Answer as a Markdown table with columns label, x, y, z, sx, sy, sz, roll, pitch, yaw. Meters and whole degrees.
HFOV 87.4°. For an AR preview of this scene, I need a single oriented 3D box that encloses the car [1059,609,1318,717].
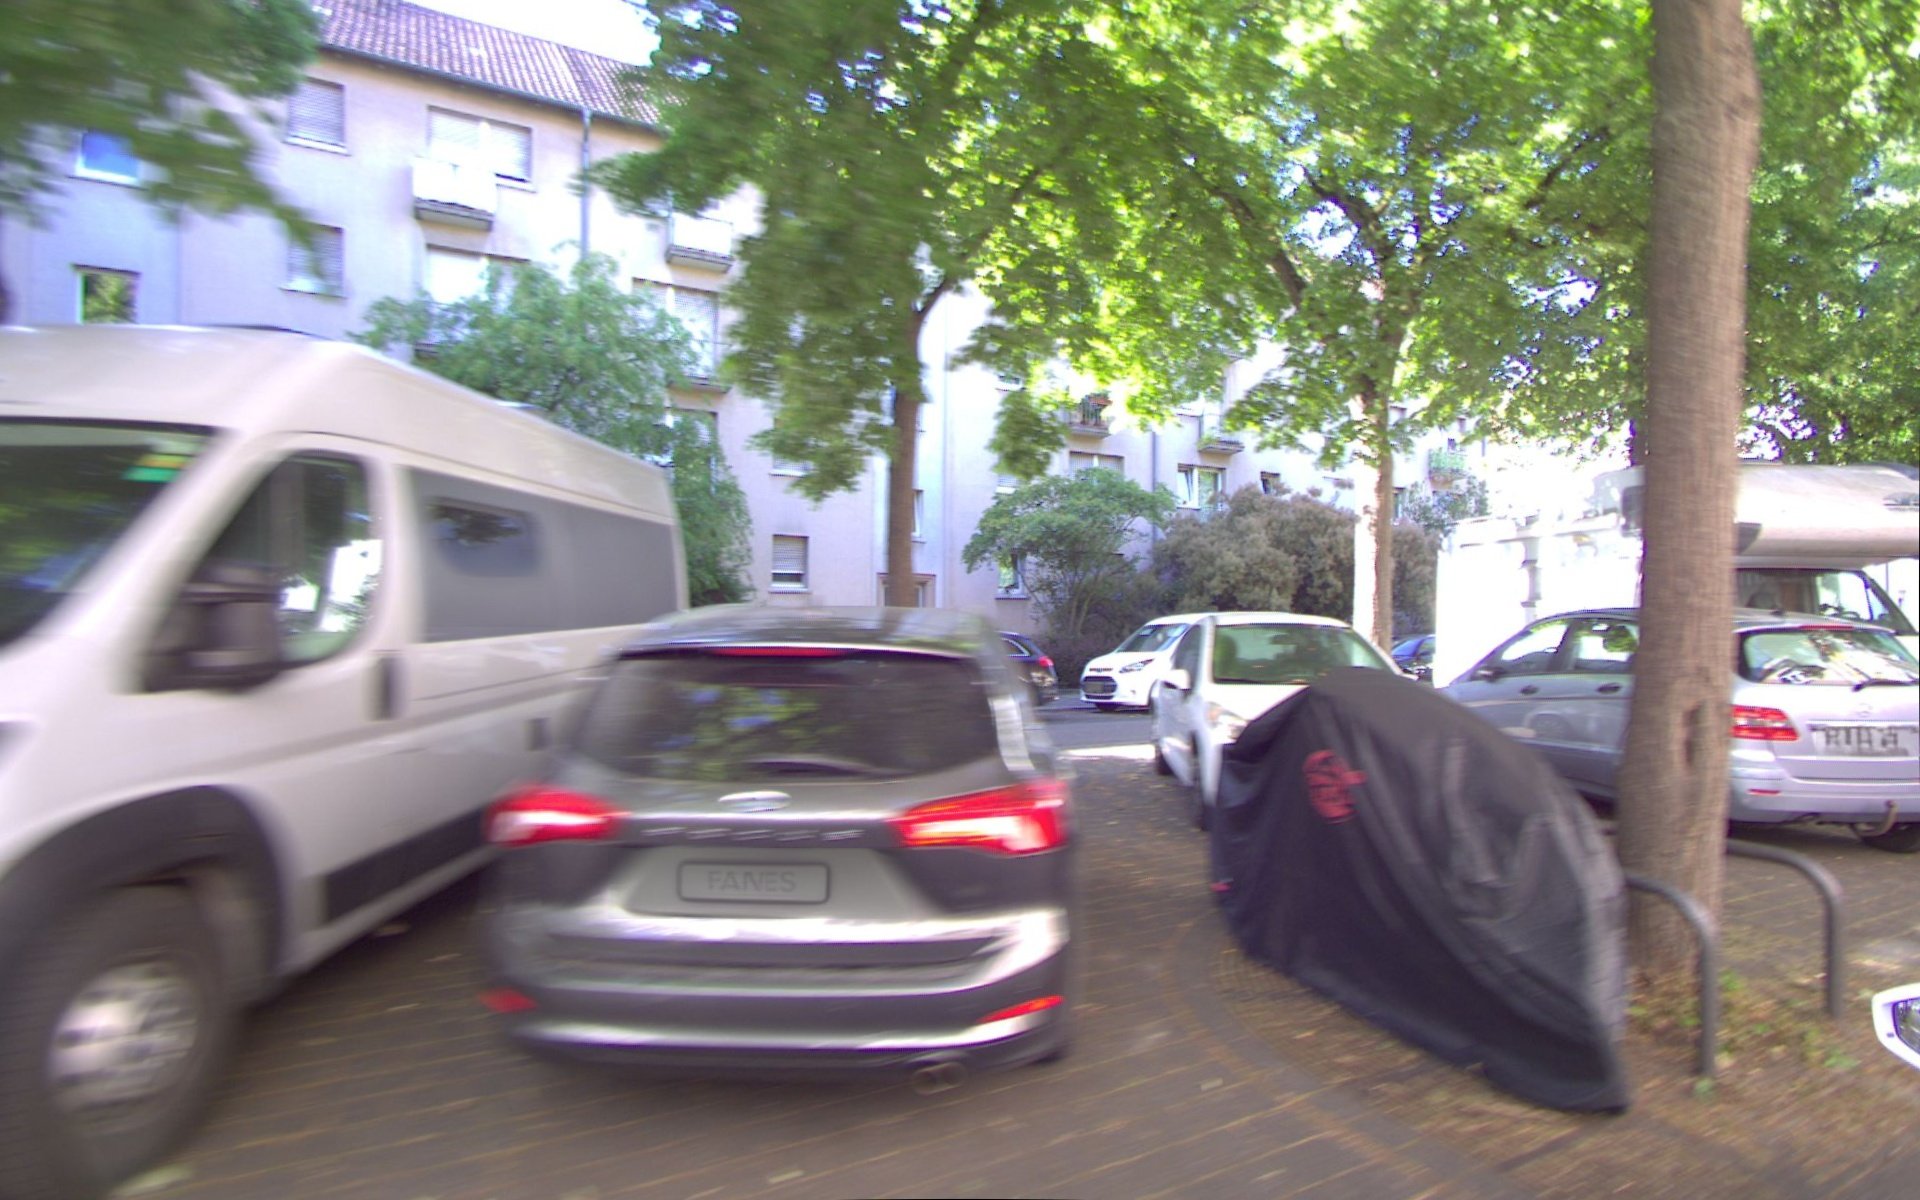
| label | x | y | z | sx | sy | sz | roll | pitch | yaw |
| --- | --- | --- | --- | --- | --- | --- | --- | --- | --- |
| car | 4.356 | 1.144 | 19.001 | 4.786 | 1.827 | 1.810 | 1 | -2 | -28 |

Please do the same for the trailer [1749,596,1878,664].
| label | x | y | z | sx | sy | sz | roll | pitch | yaw |
| --- | --- | --- | --- | --- | --- | --- | --- | --- | --- |
| trailer | 27.522 | 0.958 | 32.384 | 3.953 | 2.040 | 1.984 | 1 | -2 | -30 |

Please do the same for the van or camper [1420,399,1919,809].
| label | x | y | z | sx | sy | sz | roll | pitch | yaw |
| --- | --- | --- | --- | --- | --- | --- | --- | --- | --- |
| van or camper | 7.986 | 0.110 | 11.387 | 2.446 | 3.283 | 6.679 | 0 | -1 | 0 |

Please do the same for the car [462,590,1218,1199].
| label | x | y | z | sx | sy | sz | roll | pitch | yaw |
| --- | --- | --- | --- | --- | --- | --- | --- | --- | --- |
| car | -0.315 | 0.742 | 4.381 | 1.787 | 1.433 | 3.966 | 0 | -1 | -1 |

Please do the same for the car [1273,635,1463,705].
| label | x | y | z | sx | sy | sz | roll | pitch | yaw |
| --- | --- | --- | --- | --- | --- | --- | --- | --- | --- |
| car | 8.832 | 1.453 | 21.692 | 3.919 | 1.357 | 1.809 | 1 | -1 | -30 |

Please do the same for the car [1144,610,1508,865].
| label | x | y | z | sx | sy | sz | roll | pitch | yaw |
| --- | --- | --- | --- | --- | --- | --- | --- | --- | --- |
| car | 2.545 | 0.854 | 7.996 | 1.786 | 1.493 | 3.968 | 0 | -1 | 6 |

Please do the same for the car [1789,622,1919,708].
| label | x | y | z | sx | sy | sz | roll | pitch | yaw |
| --- | --- | --- | --- | --- | --- | --- | --- | --- | --- |
| car | 19.172 | 1.252 | 20.019 | 1.961 | 1.628 | 4.000 | 0 | -1 | -1 |

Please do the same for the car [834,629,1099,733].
| label | x | y | z | sx | sy | sz | roll | pitch | yaw |
| --- | --- | --- | --- | --- | --- | --- | --- | --- | --- |
| car | 0.124 | 1.225 | 16.236 | 3.916 | 1.475 | 1.810 | 1 | -1 | -28 |

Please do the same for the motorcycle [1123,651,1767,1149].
| label | x | y | z | sx | sy | sz | roll | pitch | yaw |
| --- | --- | --- | --- | --- | --- | --- | --- | --- | --- |
| motorcycle | 1.629 | 0.884 | 4.074 | 0.751 | 1.275 | 2.546 | 1 | -1 | -20 |

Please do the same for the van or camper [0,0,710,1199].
| label | x | y | z | sx | sy | sz | roll | pitch | yaw |
| --- | --- | --- | --- | --- | --- | --- | --- | --- | --- |
| van or camper | -3.014 | 0.179 | 4.548 | 2.210 | 2.672 | 5.888 | 0 | -1 | 1 |

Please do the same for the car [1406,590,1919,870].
| label | x | y | z | sx | sy | sz | roll | pitch | yaw |
| --- | --- | --- | --- | --- | --- | --- | --- | --- | --- |
| car | 5.383 | 0.814 | 7.959 | 1.788 | 1.650 | 3.965 | 0 | -1 | -3 |

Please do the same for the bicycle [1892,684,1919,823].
| label | x | y | z | sx | sy | sz | roll | pitch | yaw |
| --- | --- | --- | --- | --- | --- | --- | --- | --- | --- |
| bicycle | 7.417 | 1.136 | 6.749 | 0.422 | 1.020 | 1.901 | 0 | -1 | -5 |
